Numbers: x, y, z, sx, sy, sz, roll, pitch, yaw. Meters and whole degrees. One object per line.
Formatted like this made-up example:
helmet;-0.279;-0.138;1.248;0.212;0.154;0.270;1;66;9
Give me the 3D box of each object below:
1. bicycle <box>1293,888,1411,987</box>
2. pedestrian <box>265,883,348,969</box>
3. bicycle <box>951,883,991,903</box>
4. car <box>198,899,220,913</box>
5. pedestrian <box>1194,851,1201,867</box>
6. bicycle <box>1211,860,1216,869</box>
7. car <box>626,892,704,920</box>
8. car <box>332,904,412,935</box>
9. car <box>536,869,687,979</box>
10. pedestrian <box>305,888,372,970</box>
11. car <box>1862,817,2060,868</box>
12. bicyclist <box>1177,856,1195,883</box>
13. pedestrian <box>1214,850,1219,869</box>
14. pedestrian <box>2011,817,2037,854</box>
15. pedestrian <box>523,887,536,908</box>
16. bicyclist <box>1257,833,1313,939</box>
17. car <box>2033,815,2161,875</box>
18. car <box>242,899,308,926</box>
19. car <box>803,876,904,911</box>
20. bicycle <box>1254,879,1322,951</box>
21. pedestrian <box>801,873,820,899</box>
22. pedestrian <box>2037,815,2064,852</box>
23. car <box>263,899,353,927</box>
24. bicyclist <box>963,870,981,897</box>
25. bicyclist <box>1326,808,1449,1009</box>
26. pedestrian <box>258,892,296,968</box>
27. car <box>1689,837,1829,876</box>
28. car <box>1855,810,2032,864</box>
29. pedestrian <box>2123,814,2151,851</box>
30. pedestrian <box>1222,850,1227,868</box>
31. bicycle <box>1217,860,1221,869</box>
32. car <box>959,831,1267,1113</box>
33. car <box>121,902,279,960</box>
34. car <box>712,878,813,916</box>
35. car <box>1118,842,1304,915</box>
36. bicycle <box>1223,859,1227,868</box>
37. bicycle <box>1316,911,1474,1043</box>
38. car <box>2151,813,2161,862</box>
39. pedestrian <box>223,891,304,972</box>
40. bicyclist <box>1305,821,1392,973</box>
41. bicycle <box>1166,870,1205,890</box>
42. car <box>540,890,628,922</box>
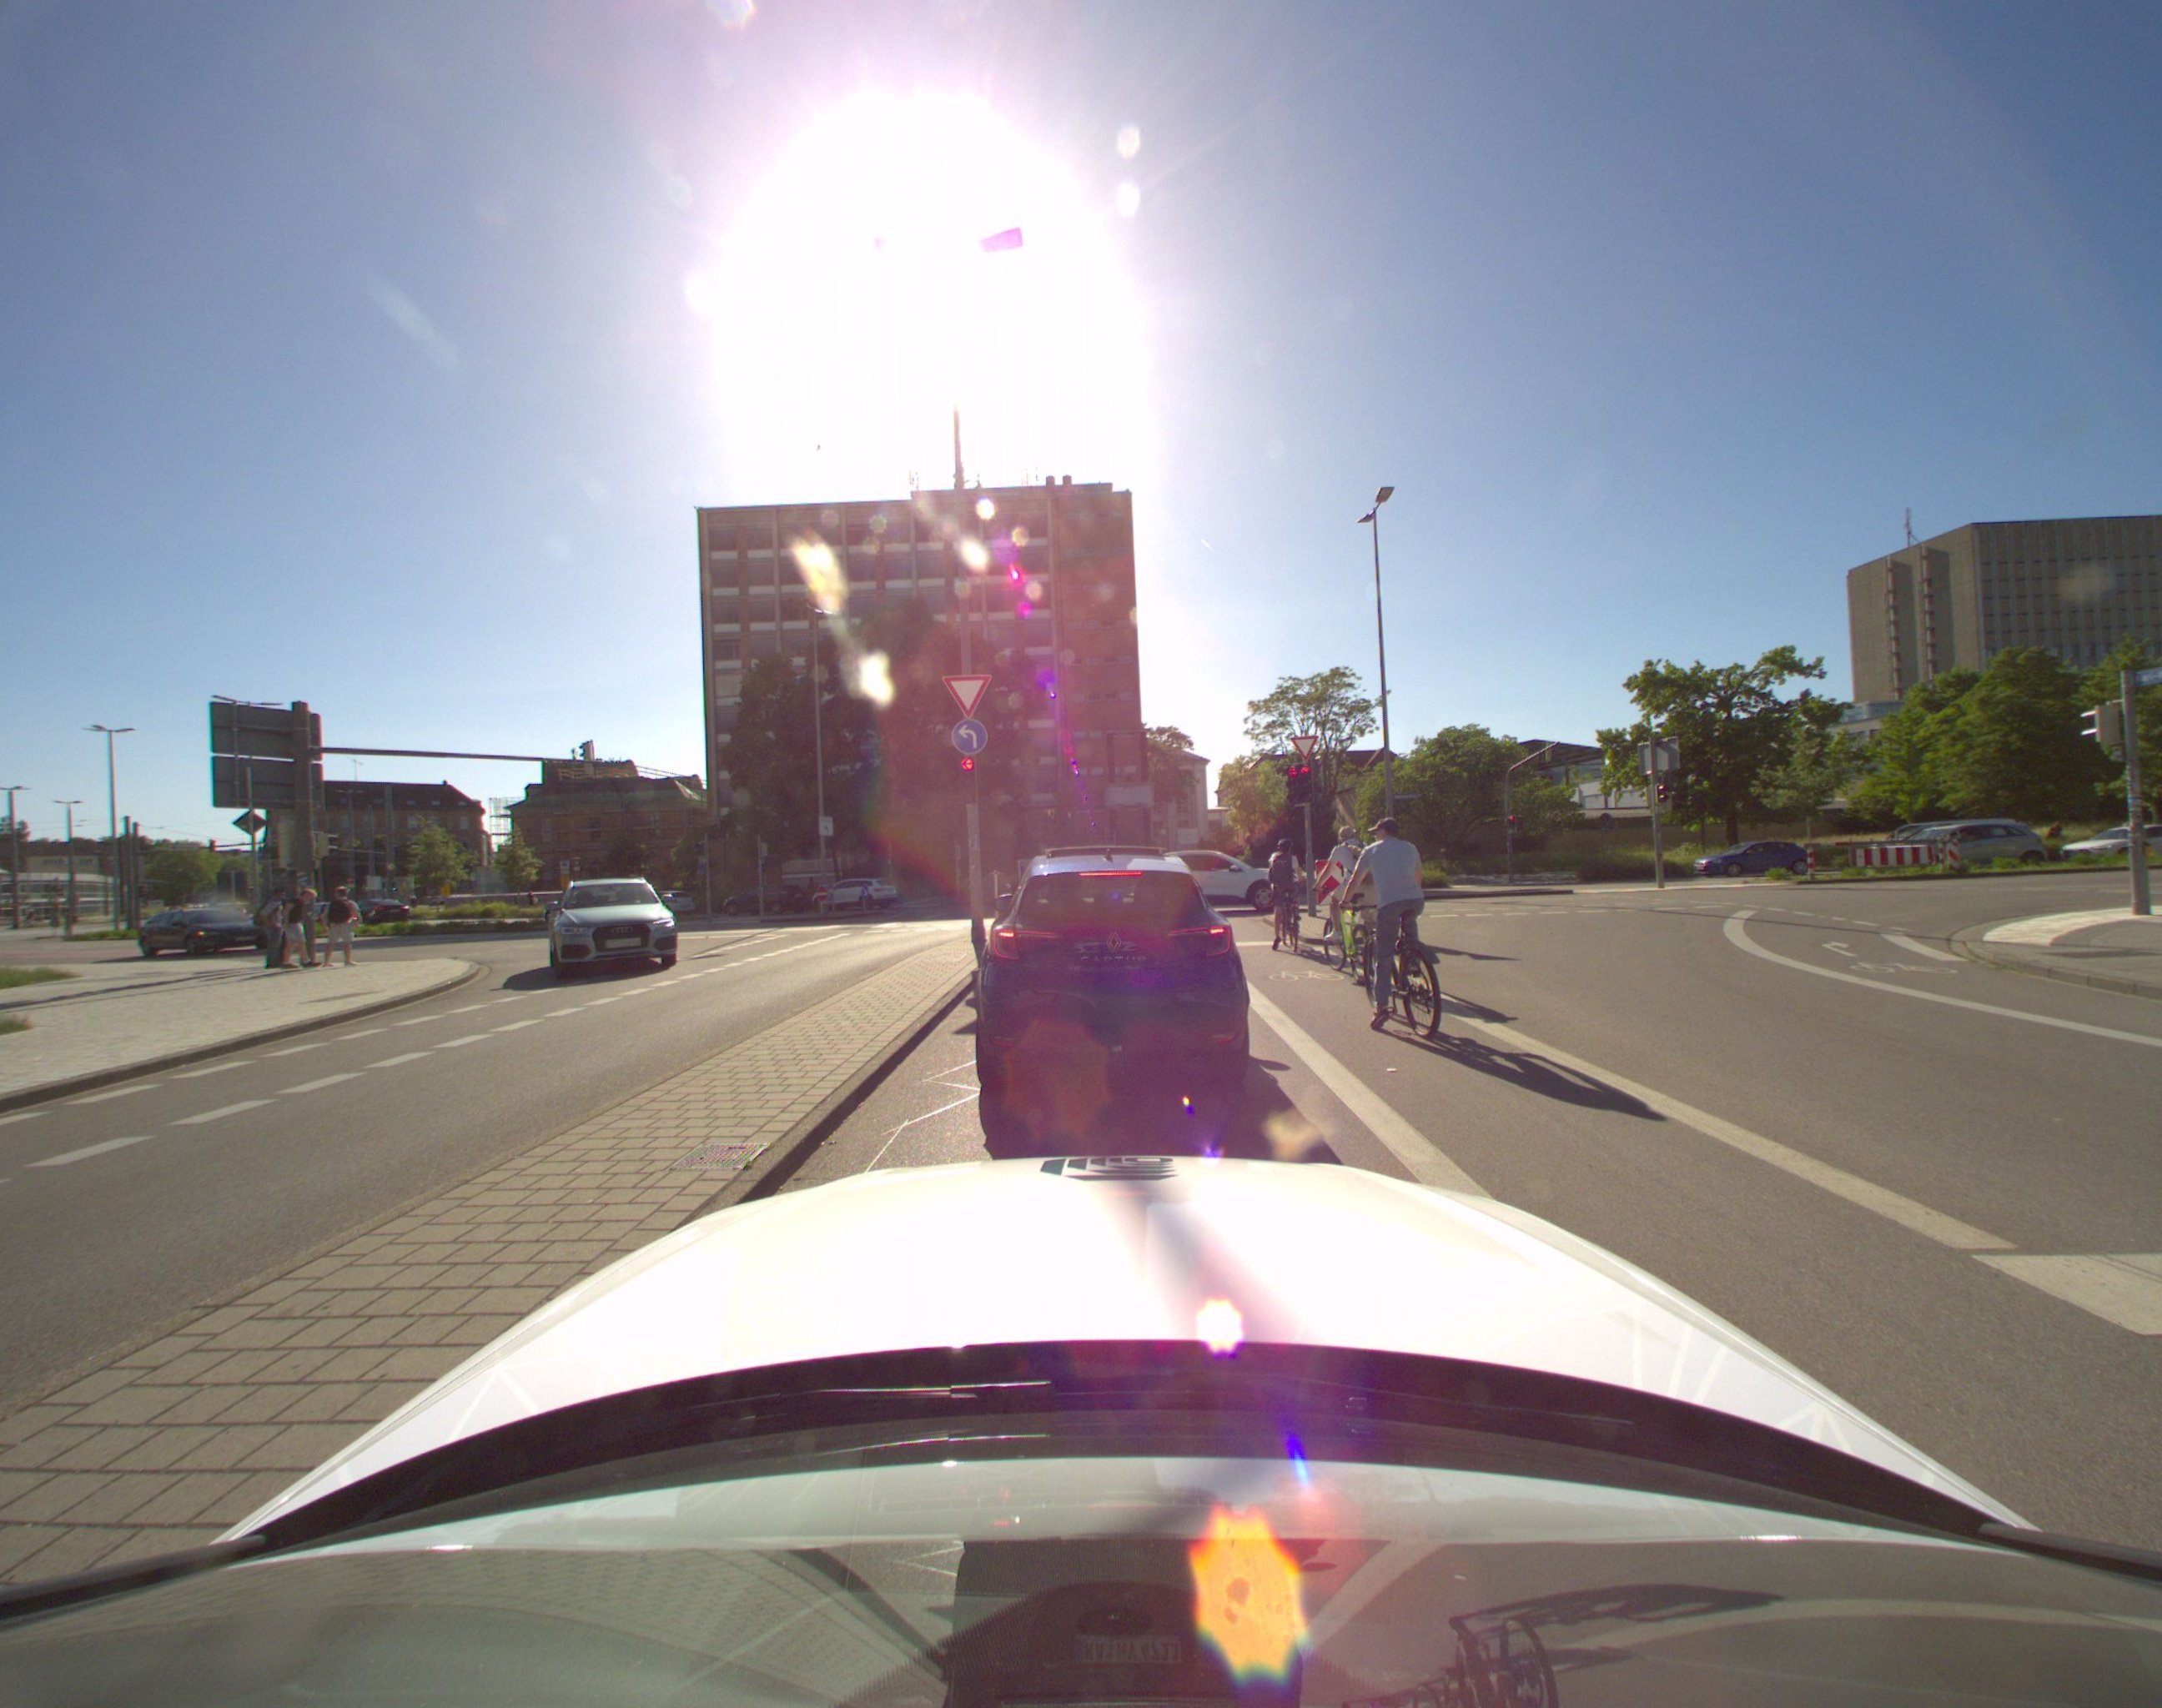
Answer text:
bicycle;3.210;0.954;9.855;0.657;1.003;1.967;0;-1;-4
pedestrian;-17.247;1.575;18.157;0.697;1.800;1.108;-5;-3;20
bicycle;-5.931;2.112;44.030;2.016;0.964;0.593;-2;-1;-25
car;-138.839;8.224;129.665;3.948;2.013;2.013;-3;-1;38
pedestrian;13.381;0.585;93.460;0.620;1.856;0.564;-2;-1;5
bicycle;15.255;1.230;93.883;0.403;0.973;1.686;0;-1;6
car;-23.601;2.928;46.212;3.804;1.435;1.751;-3;-2;19
car;-42.566;3.919;48.899;4.334;1.632;1.854;-3;-1;23
car;-8.604;1.173;14.750;1.802;1.581;4.209;-4;0;-37
pedestrian;-16.466;1.649;18.084;0.794;1.690;0.784;-4;-3;-18
car;28.136;-0.360;26.169;4.025;1.408;1.872;-2;-1;8
bicyclist;5.735;0.838;44.463;0.931;1.429;0.600;-3;-1;9
pedestrian;15.099;0.601;90.860;0.473;2.014;0.524;-2;-1;8
pedestrian;46.776;-0.918;40.399;0.559;1.778;0.528;-2;-1;5
pedestrian;-43.329;3.393;63.983;0.541;1.615;0.653;-3;-1;41
bicyclist;3.234;0.500;12.990;0.722;1.629;0.970;0;-1;6
car;39.053;-0.333;30.254;4.754;2.161;2.003;0;-1;5
car;-53.819;3.920;54.379;4.331;1.632;1.855;-3;-1;27
car;-11.936;2.091;42.747;4.786;1.632;1.852;-2;-1;16
bicycle;3.243;0.927;12.937;0.735;0.995;2.177;0;-1;6
pedestrian;-17.517;2.076;52.697;0.853;1.571;0.562;-5;-1;19
pedestrian;46.801;-0.978;39.321;0.559;1.778;0.528;-2;-1;5
car;-43.588;3.327;45.905;4.841;1.388;1.854;-3;-1;22
bicyclist;-5.893;1.596;44.057;0.741;1.441;0.593;-2;-1;-25
bicyclist;2.708;0.457;7.299;0.748;1.668;1.017;0;-1;3
pedestrian;-19.188;1.790;19.448;0.600;1.728;0.572;-2;1;-45
car;28.213;0.101;34.010;4.140;1.435;1.747;-2;-1;8
car;35.550;-0.676;33.696;4.851;2.107;2.004;0;-1;8
pedestrian;51.236;-1.024;39.511;0.559;1.778;0.528;-2;-1;5
pedestrian;16.211;0.604;92.186;0.473;2.014;0.469;-2;-1;8
bicycle;15.873;1.225;93.825;0.403;0.973;1.686;0;-1;6
car;0.199;0.707;6.806;1.798;1.632;3.999;-1;0;0
car;-28.856;2.526;26.662;4.727;1.505;1.829;-4;0;21
car;-15.805;2.141;40.450;4.339;1.632;1.852;-3;-1;16
car;3.512;0.688;21.885;4.652;1.619;1.851;-4;-3;14
bicycle;16.651;1.079;94.175;0.403;0.973;1.686;0;-1;6
bicycle;2.716;1.020;7.299;0.737;0.896;1.980;0;-1;3
car;37.089;-0.628;25.346;4.713;1.584;2.002;-2;-1;3
pedestrian;-18.186;1.702;18.134;0.900;1.690;0.839;-4;-3;-3
bicyclist;3.211;0.493;9.853;0.644;1.739;1.065;0;-1;-4
bicycle;5.707;1.415;44.473;2.063;0.964;0.600;-3;-1;9
car;-24.997;2.622;40.969;3.803;1.435;1.752;-2;-1;21
